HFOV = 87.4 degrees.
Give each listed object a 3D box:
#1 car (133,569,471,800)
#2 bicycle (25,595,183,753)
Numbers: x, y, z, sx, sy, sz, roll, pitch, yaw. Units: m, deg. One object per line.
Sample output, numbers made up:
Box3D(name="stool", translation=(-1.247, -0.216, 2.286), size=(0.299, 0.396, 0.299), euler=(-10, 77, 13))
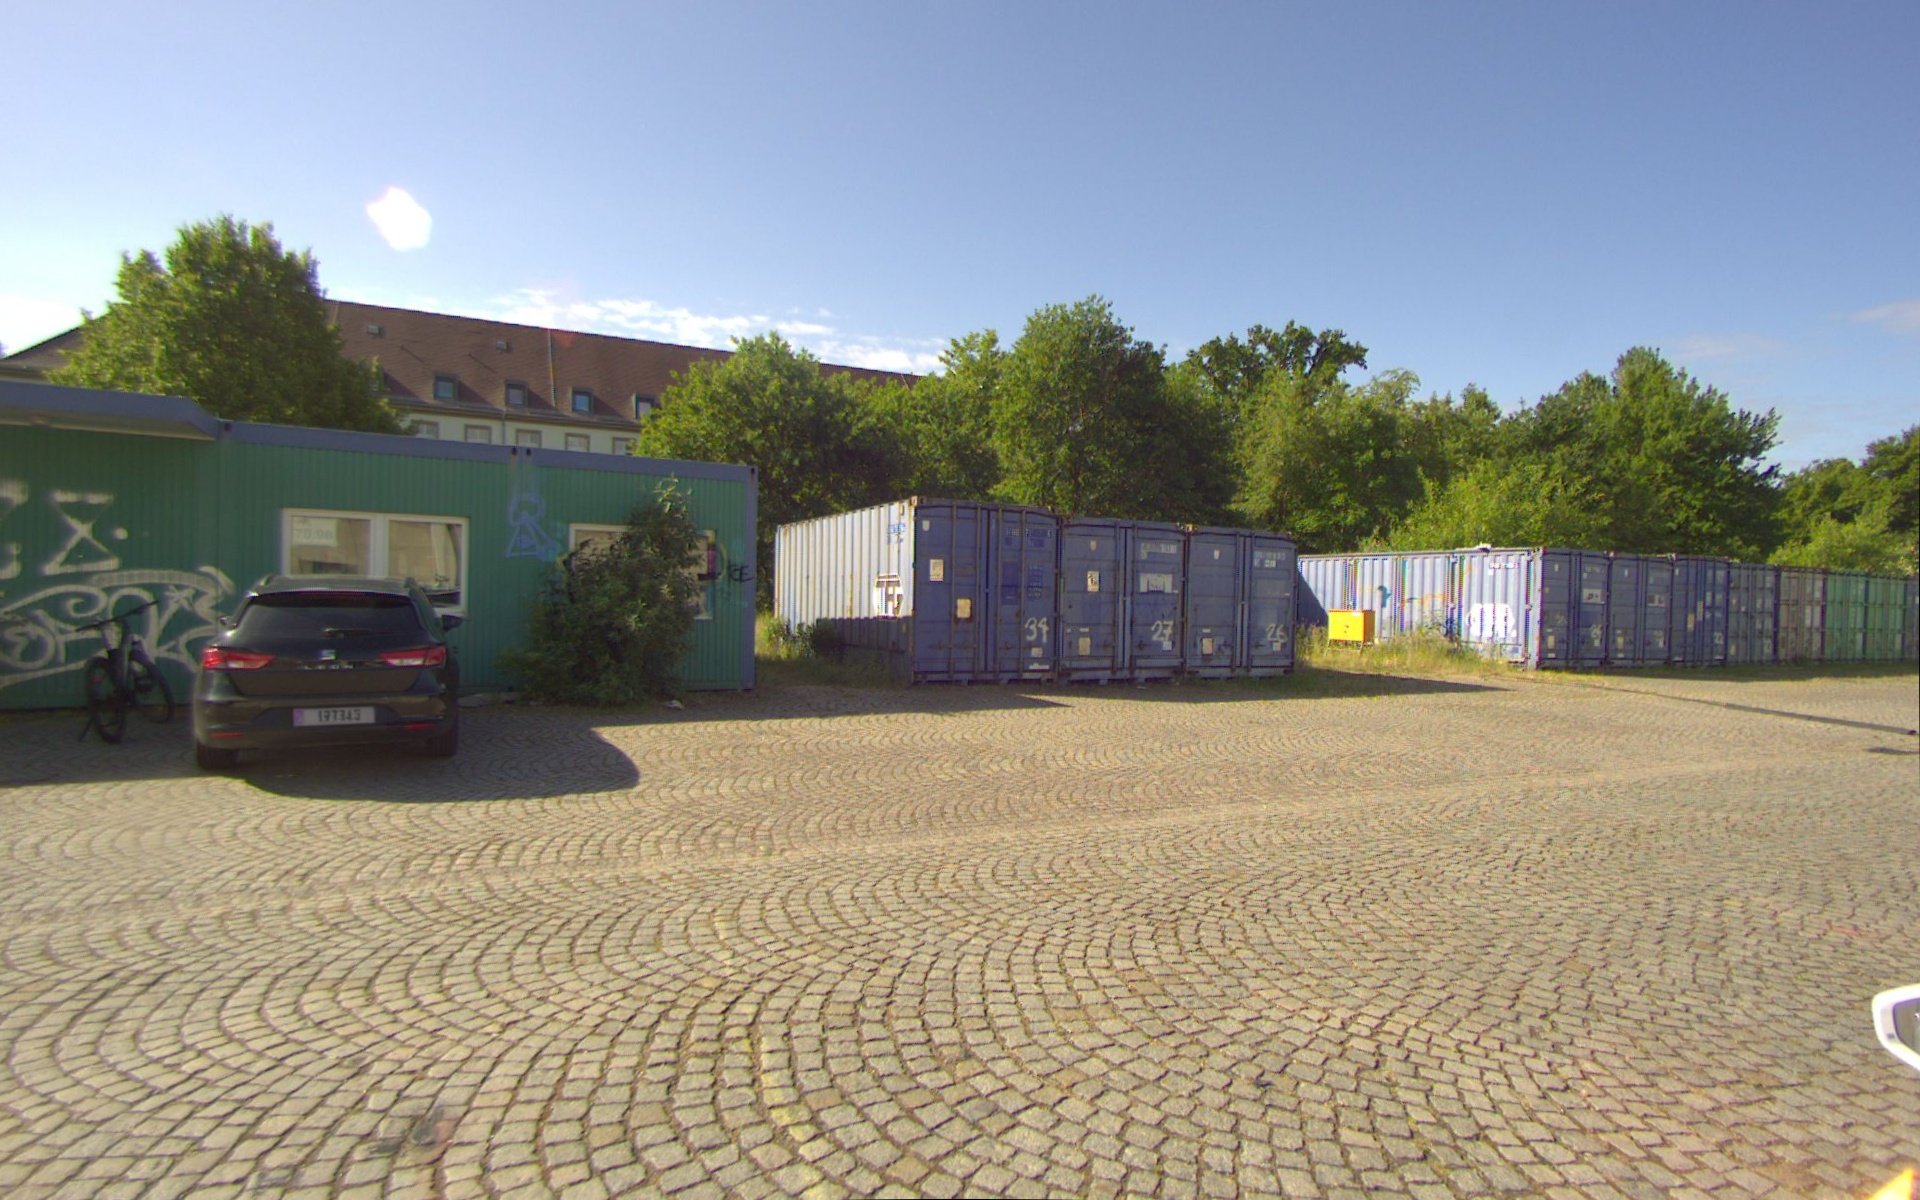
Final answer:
Box3D(name="car", translation=(-5.391, 0.507, 8.730), size=(1.907, 1.469, 4.234), euler=(2, 1, -28))
Box3D(name="bicycle", translation=(-7.414, 0.583, 8.782), size=(0.660, 1.186, 1.796), euler=(2, 1, -28))
